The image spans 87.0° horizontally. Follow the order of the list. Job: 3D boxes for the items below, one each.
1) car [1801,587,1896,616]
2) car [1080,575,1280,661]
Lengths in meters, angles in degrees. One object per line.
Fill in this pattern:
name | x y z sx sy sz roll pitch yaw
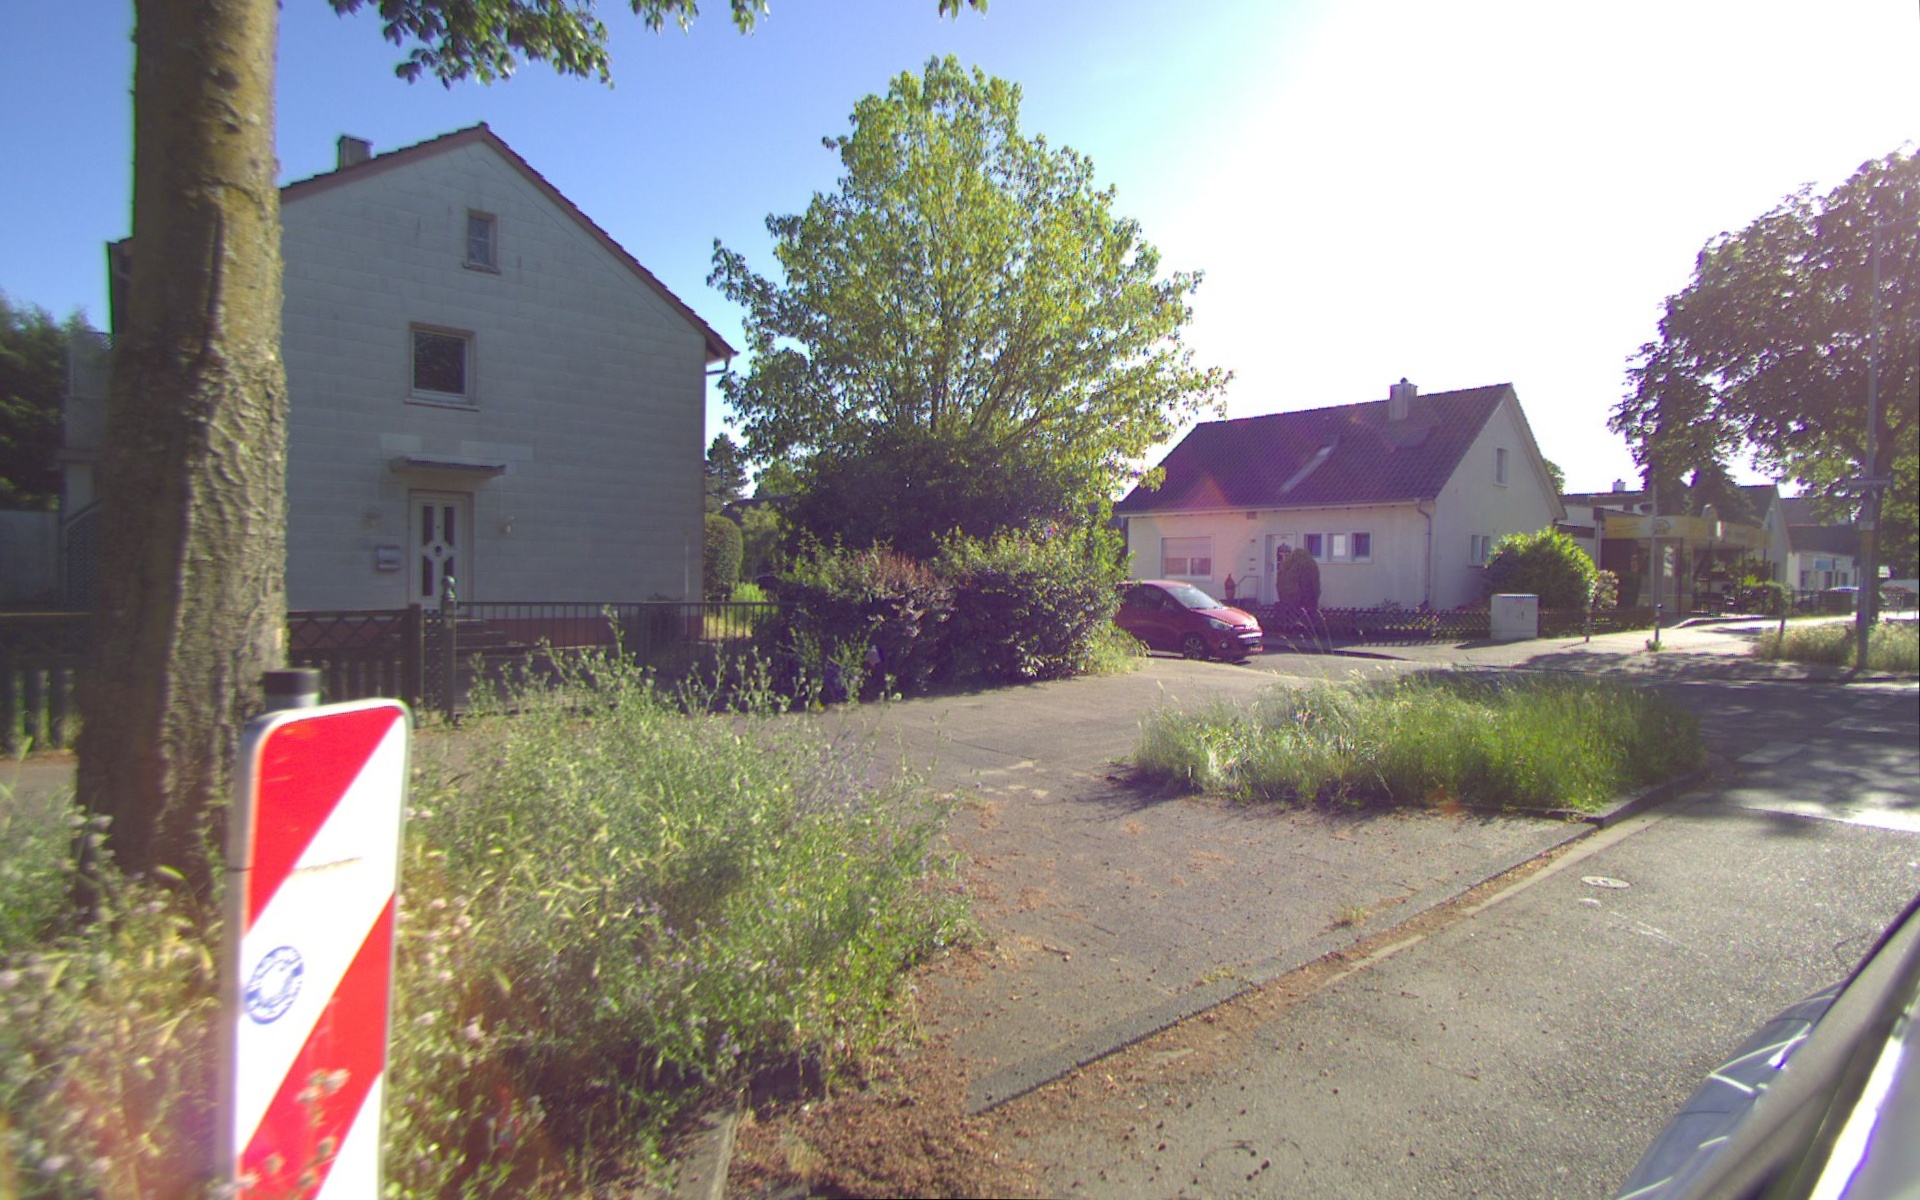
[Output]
car | 47.164 0.092 53.746 1.667 1.458 3.615 0 -2 -43
car | 4.252 0.315 19.880 1.612 1.530 3.544 2 0 -43
